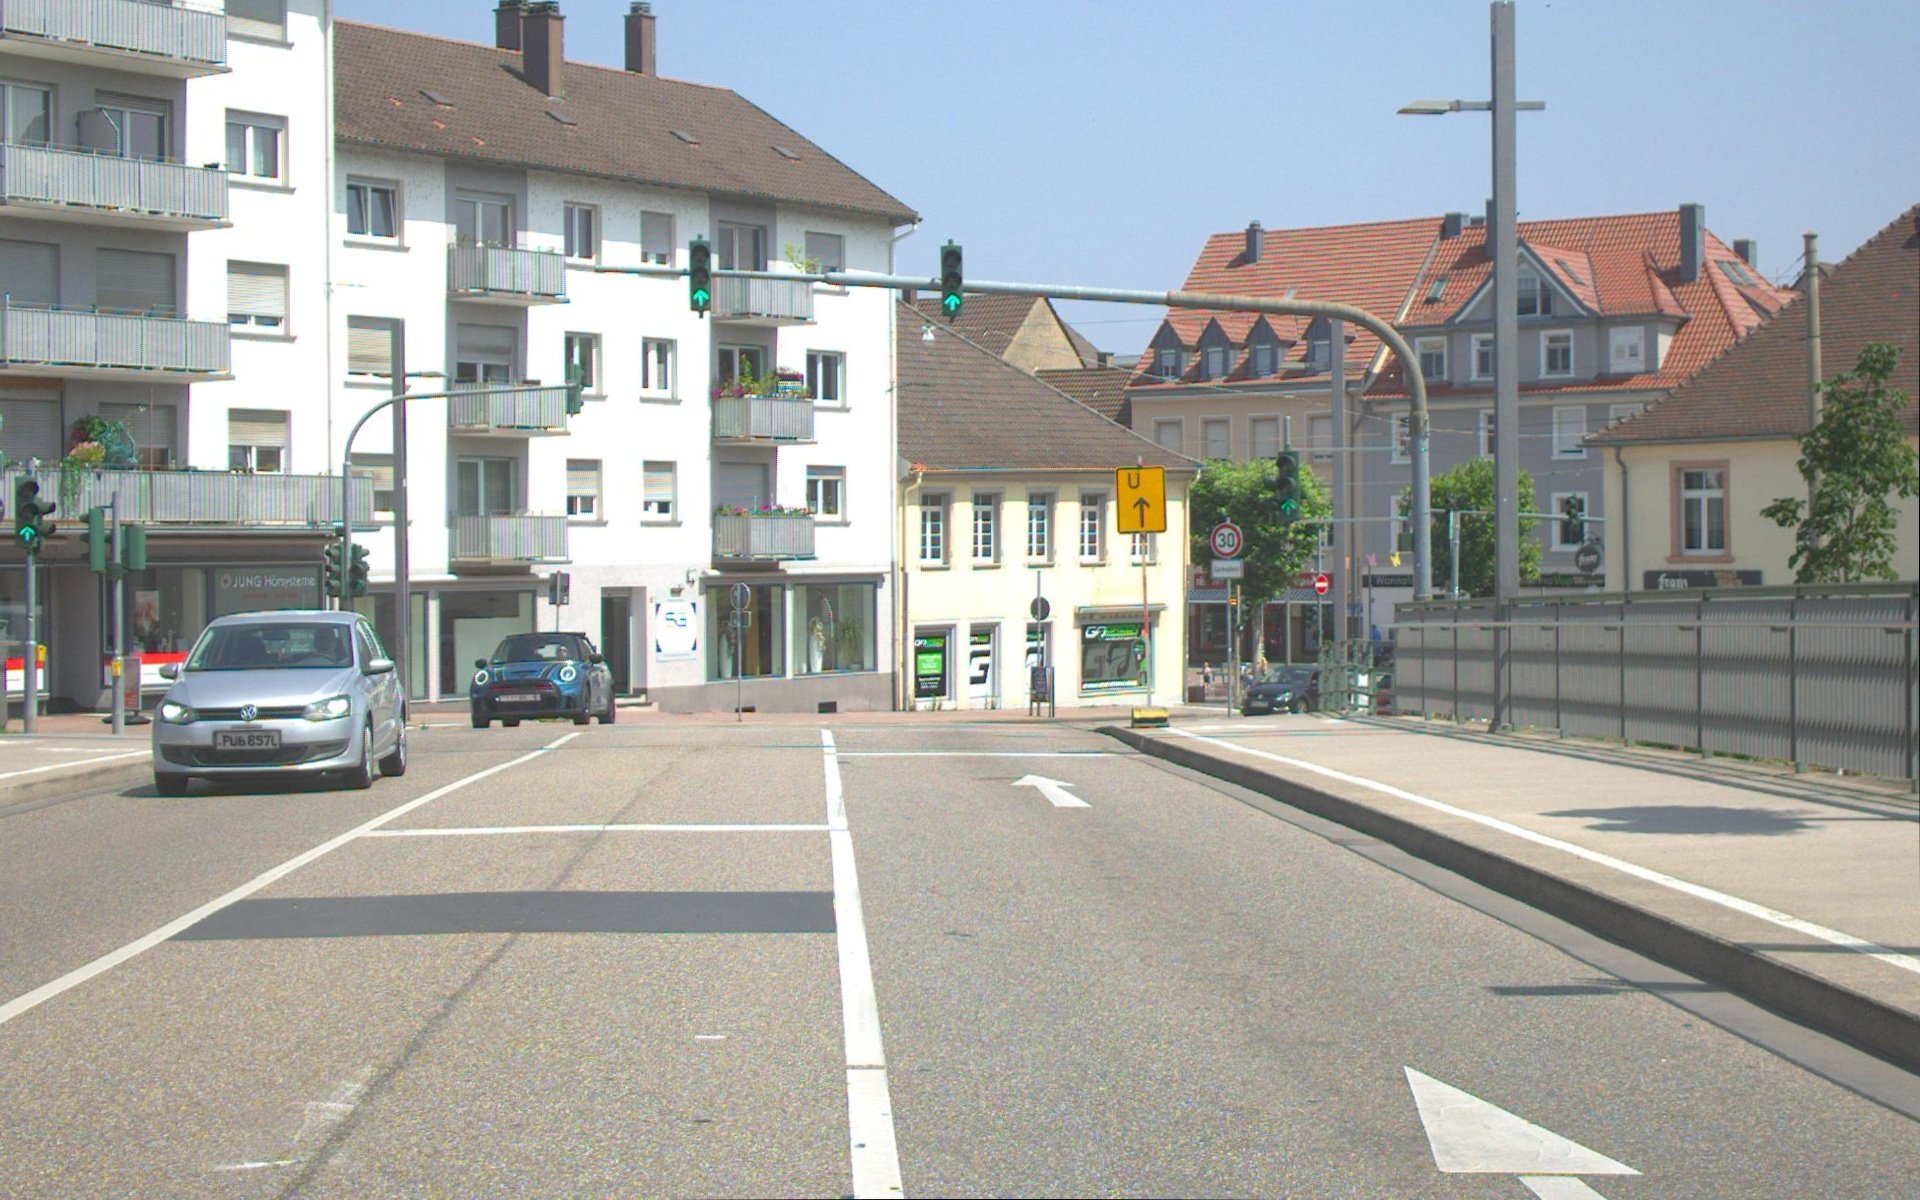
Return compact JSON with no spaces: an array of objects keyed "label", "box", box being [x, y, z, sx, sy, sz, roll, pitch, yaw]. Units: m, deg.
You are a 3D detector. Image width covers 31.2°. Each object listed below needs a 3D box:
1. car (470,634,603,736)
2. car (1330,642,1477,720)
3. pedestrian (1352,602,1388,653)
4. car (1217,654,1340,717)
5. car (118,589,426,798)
[{"label":"car","box":[-6.298,1.250,51.424,1.656,1.435,3.755,0,0,-2]},{"label":"car","box":[10.607,1.904,82.002,1.993,1.607,4.336,0,2,29]},{"label":"pedestrian","box":[16.202,1.091,135.817,1.032,1.974,1.018,1,1,33]},{"label":"car","box":[8.395,2.232,90.291,1.679,1.483,3.948,-2,0,30]},{"label":"car","box":[-5.540,0.702,28.130,1.760,1.514,4.000,-1,1,-1]}]
